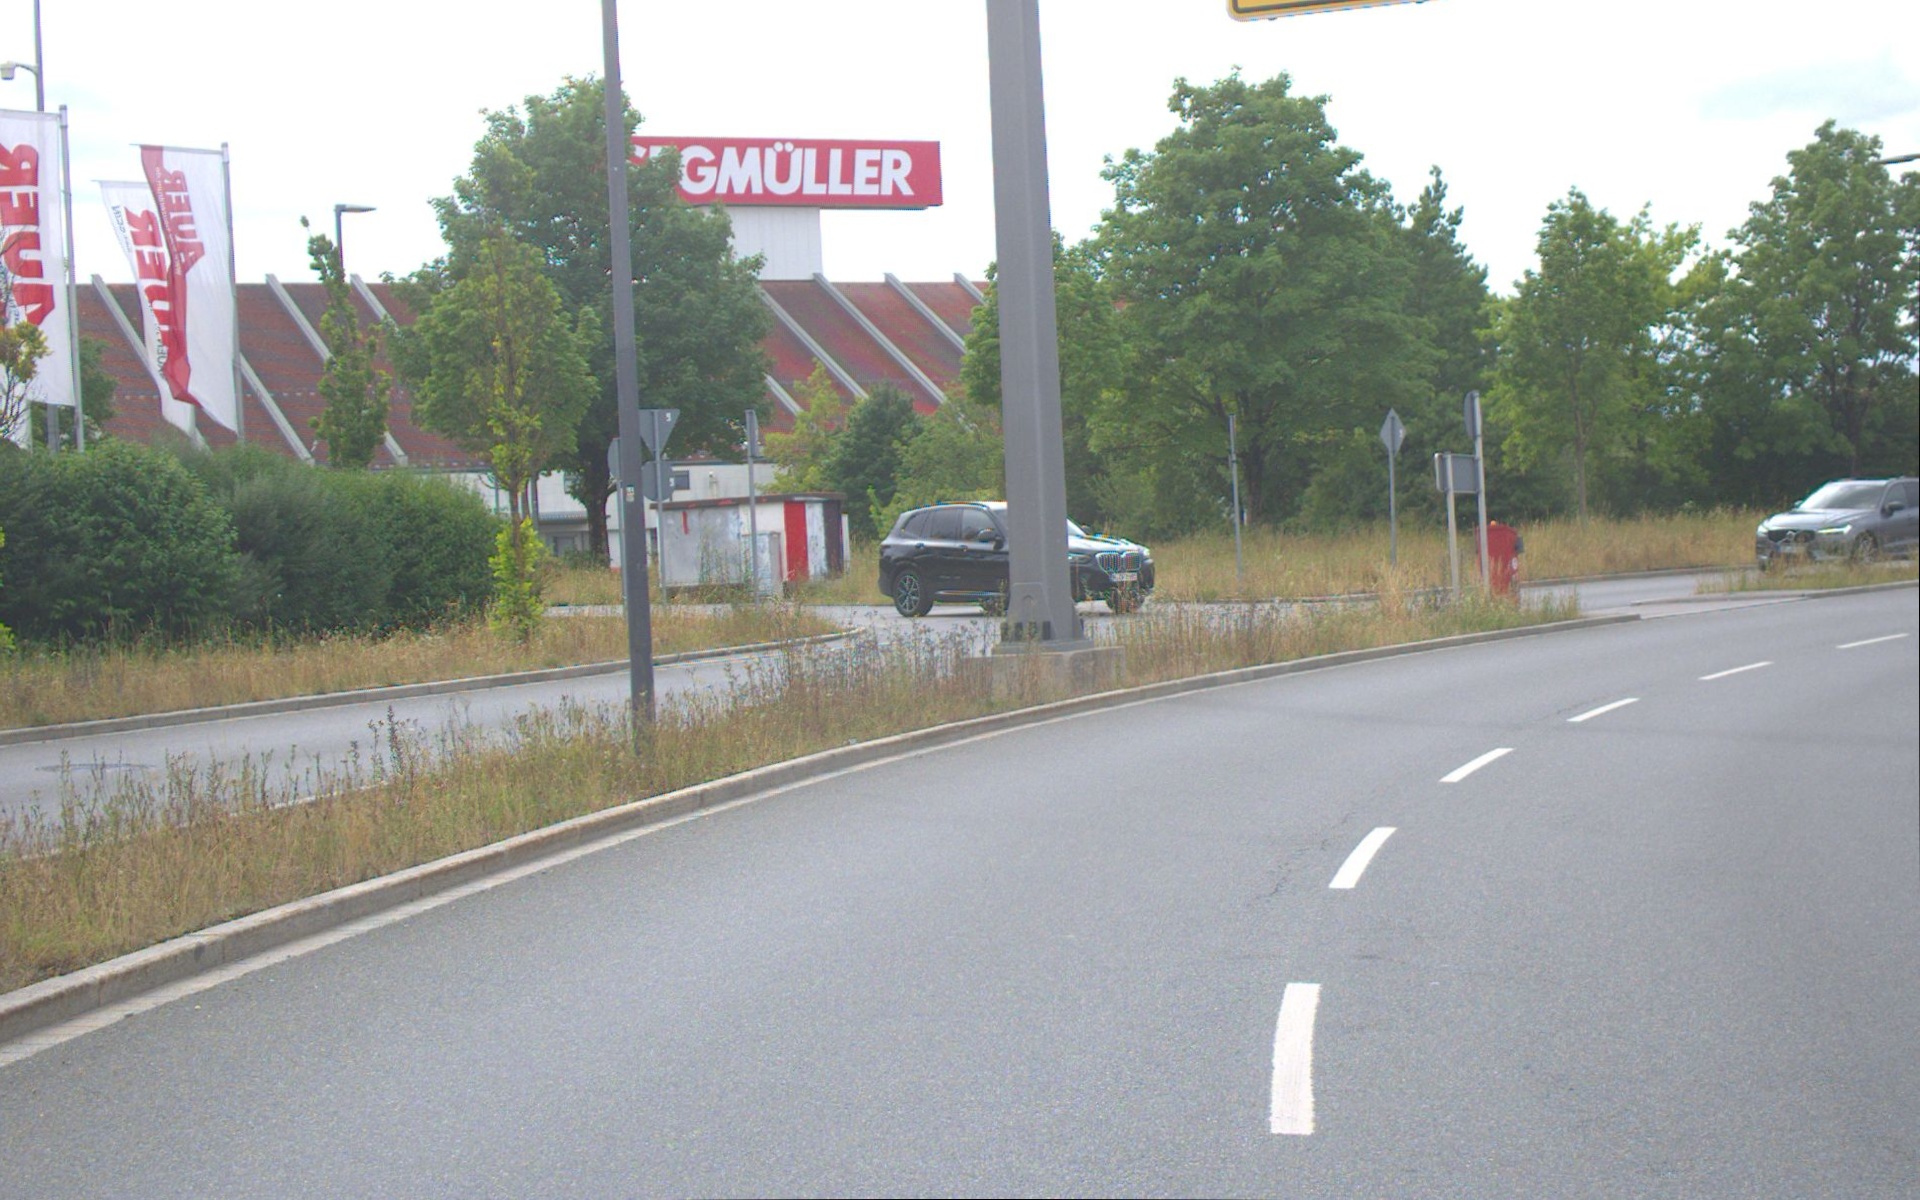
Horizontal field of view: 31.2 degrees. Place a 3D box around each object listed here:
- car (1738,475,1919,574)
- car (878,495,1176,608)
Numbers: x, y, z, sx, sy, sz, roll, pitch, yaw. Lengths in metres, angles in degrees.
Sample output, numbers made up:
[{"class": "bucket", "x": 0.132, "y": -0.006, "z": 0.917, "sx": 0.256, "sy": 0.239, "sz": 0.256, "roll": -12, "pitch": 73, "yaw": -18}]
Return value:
[{"class": "car", "x": 15.533, "y": -1.333, "z": 59.308, "sx": 4.674, "sy": 1.624, "sz": 1.814, "roll": -2, "pitch": 3, "yaw": -43}, {"class": "car", "x": 0.931, "y": -0.691, "z": 49.976, "sx": 1.869, "sy": 1.544, "sz": 4.253, "roll": -3, "pitch": 2, "yaw": -43}]
